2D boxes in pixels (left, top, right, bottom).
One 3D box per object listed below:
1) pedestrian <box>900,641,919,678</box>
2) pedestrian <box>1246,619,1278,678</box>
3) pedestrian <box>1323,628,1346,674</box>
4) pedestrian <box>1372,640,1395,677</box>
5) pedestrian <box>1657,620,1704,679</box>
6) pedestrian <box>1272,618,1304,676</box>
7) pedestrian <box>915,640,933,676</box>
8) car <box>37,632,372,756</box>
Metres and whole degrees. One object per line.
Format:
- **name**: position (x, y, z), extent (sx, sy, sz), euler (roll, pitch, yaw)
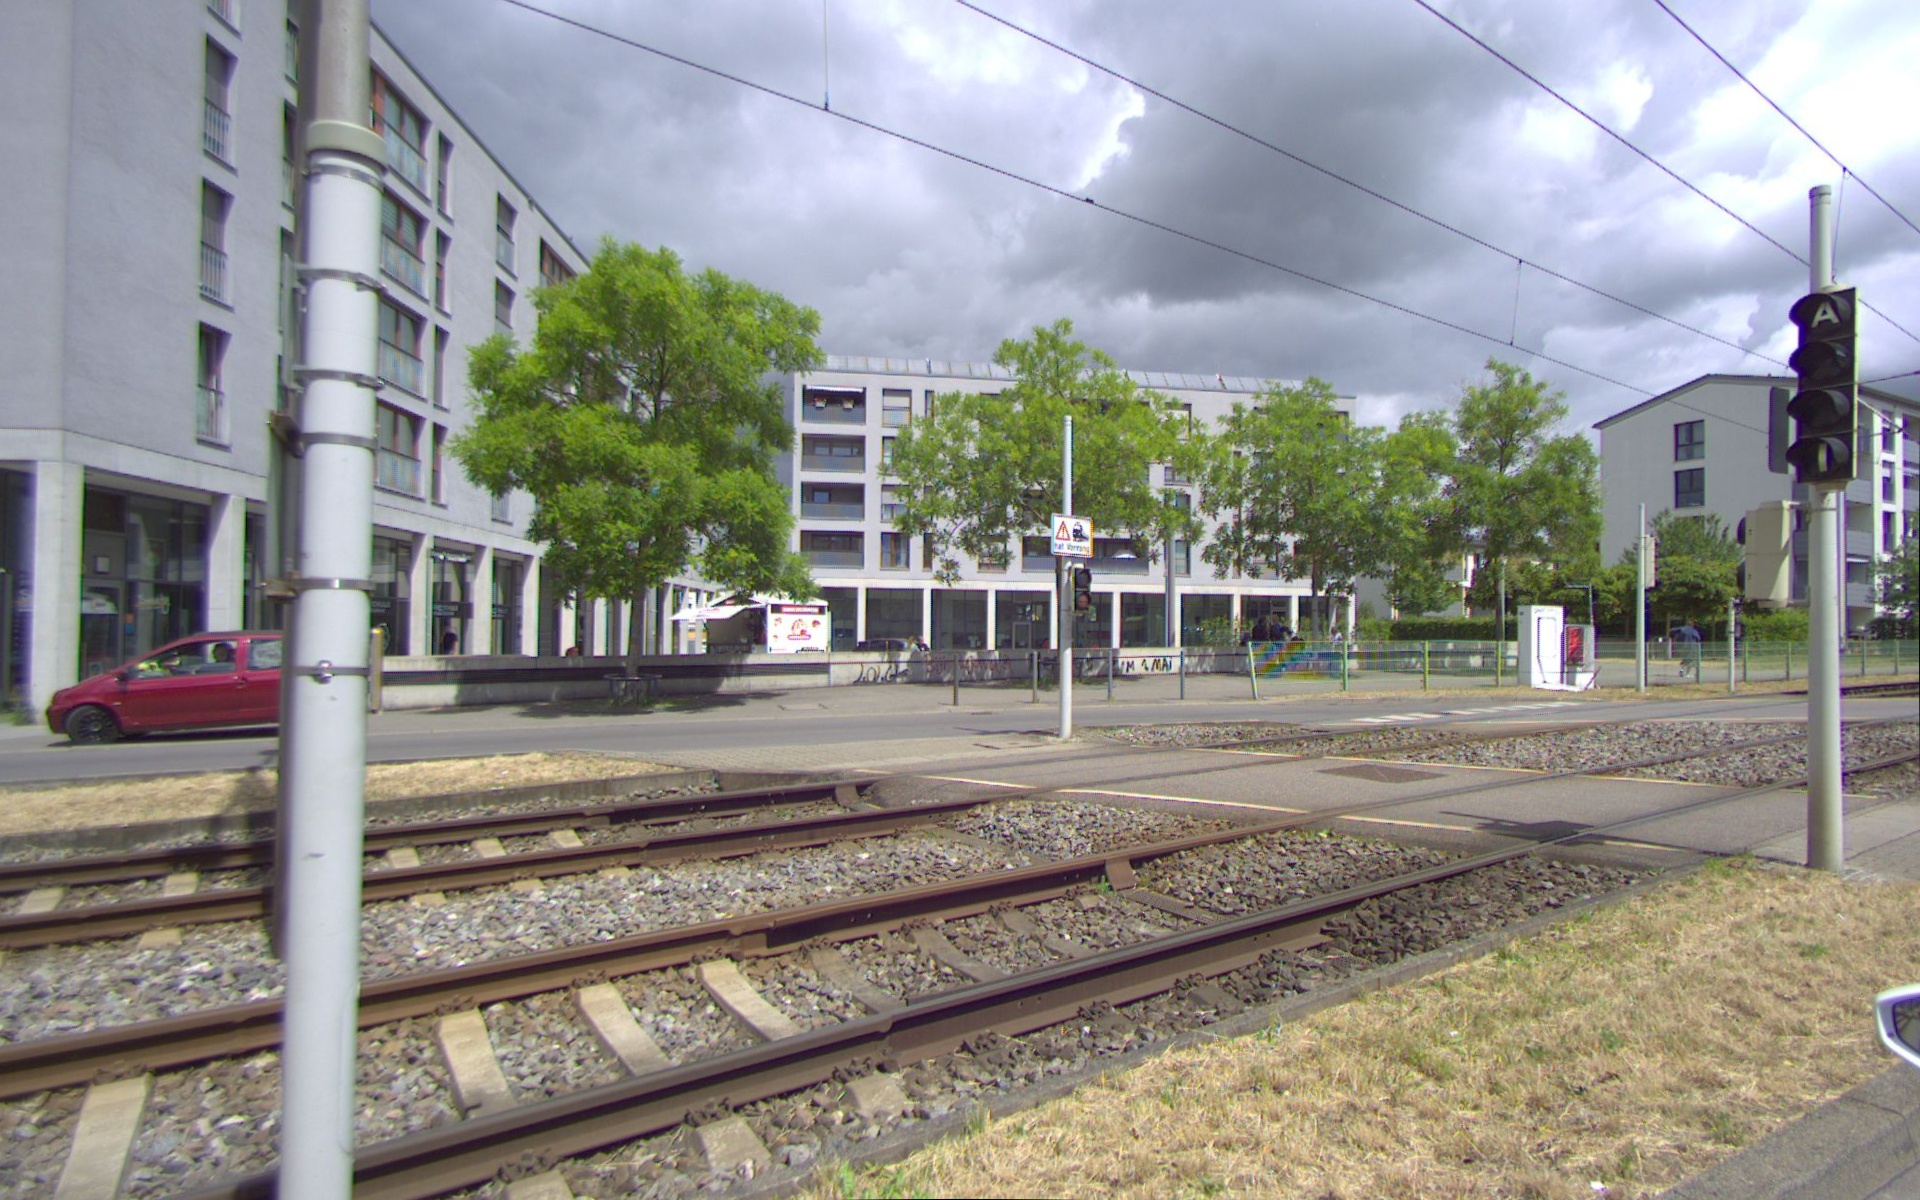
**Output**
- **pedestrian**: position (-1.564, 1.815, 30.887), extent (0.566, 1.110, 0.500), euler (0, -1, -5)
- **pedestrian**: position (8.414, 1.349, 27.992), extent (0.549, 1.594, 0.622), euler (-1, -2, -19)
- **pedestrian**: position (13.172, 1.791, 35.317), extent (0.519, 1.567, 0.545), euler (-1, -2, -9)
- **pedestrian**: position (14.498, 1.994, 34.383), extent (0.449, 1.263, 0.545), euler (-1, -2, -9)
- **pedestrian**: position (21.039, 1.444, 29.331), extent (0.858, 1.683, 0.747), euler (-1, -2, -26)
- **pedestrian**: position (9.256, 1.317, 28.358), extent (0.550, 1.594, 0.621), euler (-1, -2, -24)
- **pedestrian**: position (-1.137, 1.830, 31.751), extent (0.566, 1.110, 0.500), euler (0, -1, -5)
- **car**: position (-10.142, 1.215, 13.803), extent (3.375, 1.445, 1.610), euler (-1, -2, -24)
